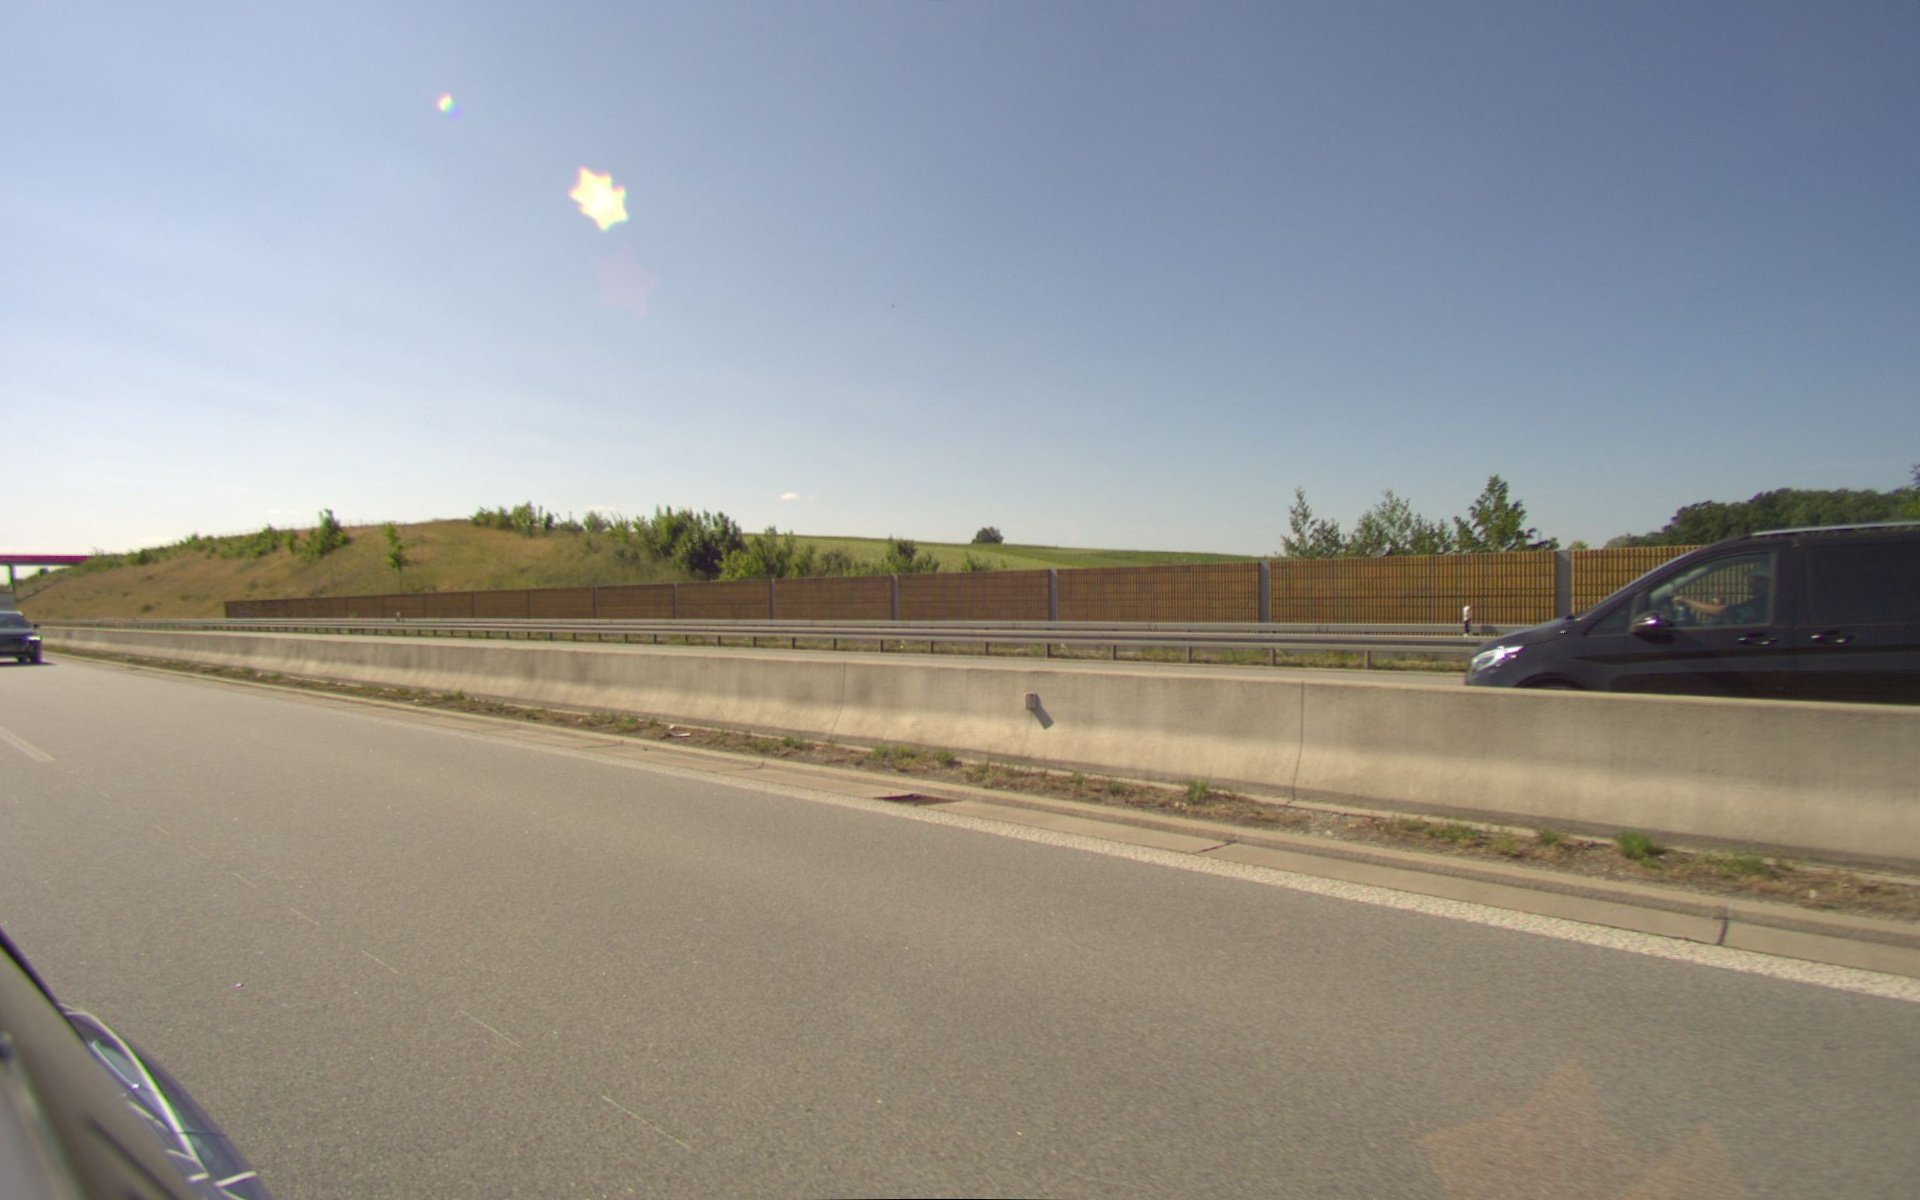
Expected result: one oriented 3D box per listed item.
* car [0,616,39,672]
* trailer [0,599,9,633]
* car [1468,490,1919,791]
[{"bbox_3d":[-29.695,1.294,30.958,5.220,1.599,1.704,-1,0,42],"label":"car"},{"bbox_3d":[-114.973,1.939,119.401,13.725,3.905,2.611,-1,0,40],"label":"trailer"},{"bbox_3d":[7.162,0.265,7.527,5.735,2.029,1.973,-1,0,41],"label":"car"}]
